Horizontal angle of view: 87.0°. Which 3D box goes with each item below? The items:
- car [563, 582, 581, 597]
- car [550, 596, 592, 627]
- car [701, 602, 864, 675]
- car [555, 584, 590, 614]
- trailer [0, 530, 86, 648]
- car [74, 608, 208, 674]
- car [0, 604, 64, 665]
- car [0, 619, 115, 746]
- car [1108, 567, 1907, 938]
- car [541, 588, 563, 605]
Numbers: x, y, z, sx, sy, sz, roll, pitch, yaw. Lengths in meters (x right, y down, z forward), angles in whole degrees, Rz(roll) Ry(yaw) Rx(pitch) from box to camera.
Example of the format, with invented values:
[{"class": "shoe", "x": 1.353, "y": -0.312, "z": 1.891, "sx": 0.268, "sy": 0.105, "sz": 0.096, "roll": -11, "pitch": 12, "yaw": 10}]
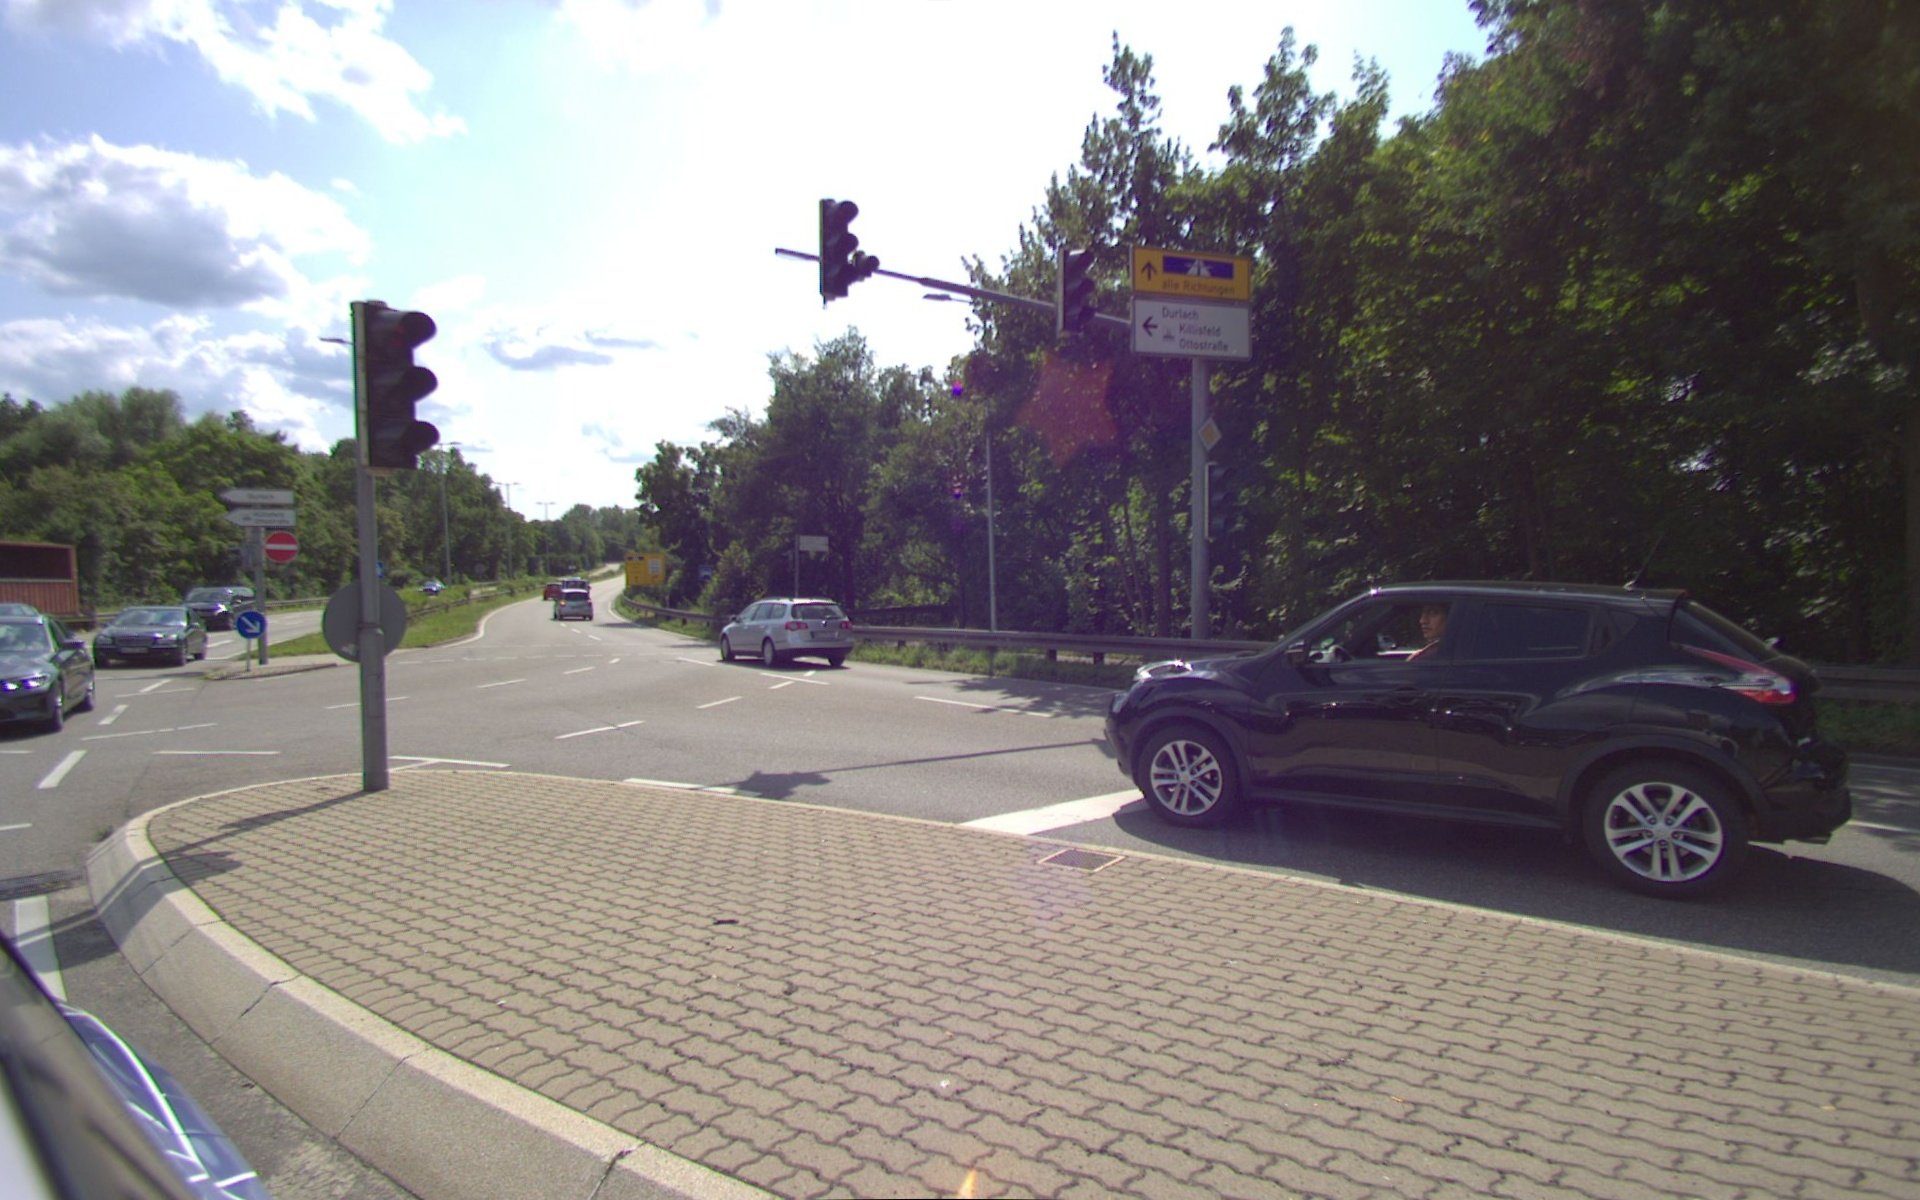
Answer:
[{"class": "car", "x": -42.953, "y": -1.185, "z": 112.071, "sx": 1.686, "sy": 1.598, "sz": 4.296, "roll": 1, "pitch": 0, "yaw": -19}, {"class": "car", "x": -20.356, "y": 0.585, "z": 52.875, "sx": 1.708, "sy": 1.532, "sz": 4.081, "roll": 1, "pitch": 0, "yaw": -26}, {"class": "car", "x": -4.146, "y": 0.805, "z": 23.005, "sx": 1.660, "sy": 1.489, "sz": 4.723, "roll": 1, "pitch": -1, "yaw": -37}, {"class": "car", "x": -27.650, "y": -0.076, "z": 72.061, "sx": 1.965, "sy": 2.029, "sz": 5.152, "roll": 1, "pitch": 0, "yaw": -25}, {"class": "trailer", "x": -32.424, "y": -0.308, "z": 31.186, "sx": 2.734, "sy": 3.879, "sz": 12.352, "roll": -2, "pitch": 1, "yaw": -13}, {"class": "car", "x": -20.170, "y": 0.953, "z": 25.095, "sx": 1.828, "sy": 1.421, "sz": 4.013, "roll": -1, "pitch": 1, "yaw": -28}, {"class": "car", "x": -23.882, "y": 0.857, "z": 24.433, "sx": 1.828, "sy": 1.421, "sz": 4.012, "roll": -1, "pitch": 1, "yaw": -17}, {"class": "car", "x": -12.478, "y": 0.971, "z": 12.992, "sx": 1.828, "sy": 1.373, "sz": 4.012, "roll": 0, "pitch": 0, "yaw": -30}, {"class": "car", "x": 2.988, "y": 0.656, "z": 6.124, "sx": 3.816, "sy": 1.569, "sz": 1.682, "roll": -1, "pitch": 0, "yaw": 37}, {"class": "car", "x": -34.708, "y": -0.276, "z": 86.096, "sx": 1.559, "sy": 1.443, "sz": 4.013, "roll": 0, "pitch": 0, "yaw": -19}]
